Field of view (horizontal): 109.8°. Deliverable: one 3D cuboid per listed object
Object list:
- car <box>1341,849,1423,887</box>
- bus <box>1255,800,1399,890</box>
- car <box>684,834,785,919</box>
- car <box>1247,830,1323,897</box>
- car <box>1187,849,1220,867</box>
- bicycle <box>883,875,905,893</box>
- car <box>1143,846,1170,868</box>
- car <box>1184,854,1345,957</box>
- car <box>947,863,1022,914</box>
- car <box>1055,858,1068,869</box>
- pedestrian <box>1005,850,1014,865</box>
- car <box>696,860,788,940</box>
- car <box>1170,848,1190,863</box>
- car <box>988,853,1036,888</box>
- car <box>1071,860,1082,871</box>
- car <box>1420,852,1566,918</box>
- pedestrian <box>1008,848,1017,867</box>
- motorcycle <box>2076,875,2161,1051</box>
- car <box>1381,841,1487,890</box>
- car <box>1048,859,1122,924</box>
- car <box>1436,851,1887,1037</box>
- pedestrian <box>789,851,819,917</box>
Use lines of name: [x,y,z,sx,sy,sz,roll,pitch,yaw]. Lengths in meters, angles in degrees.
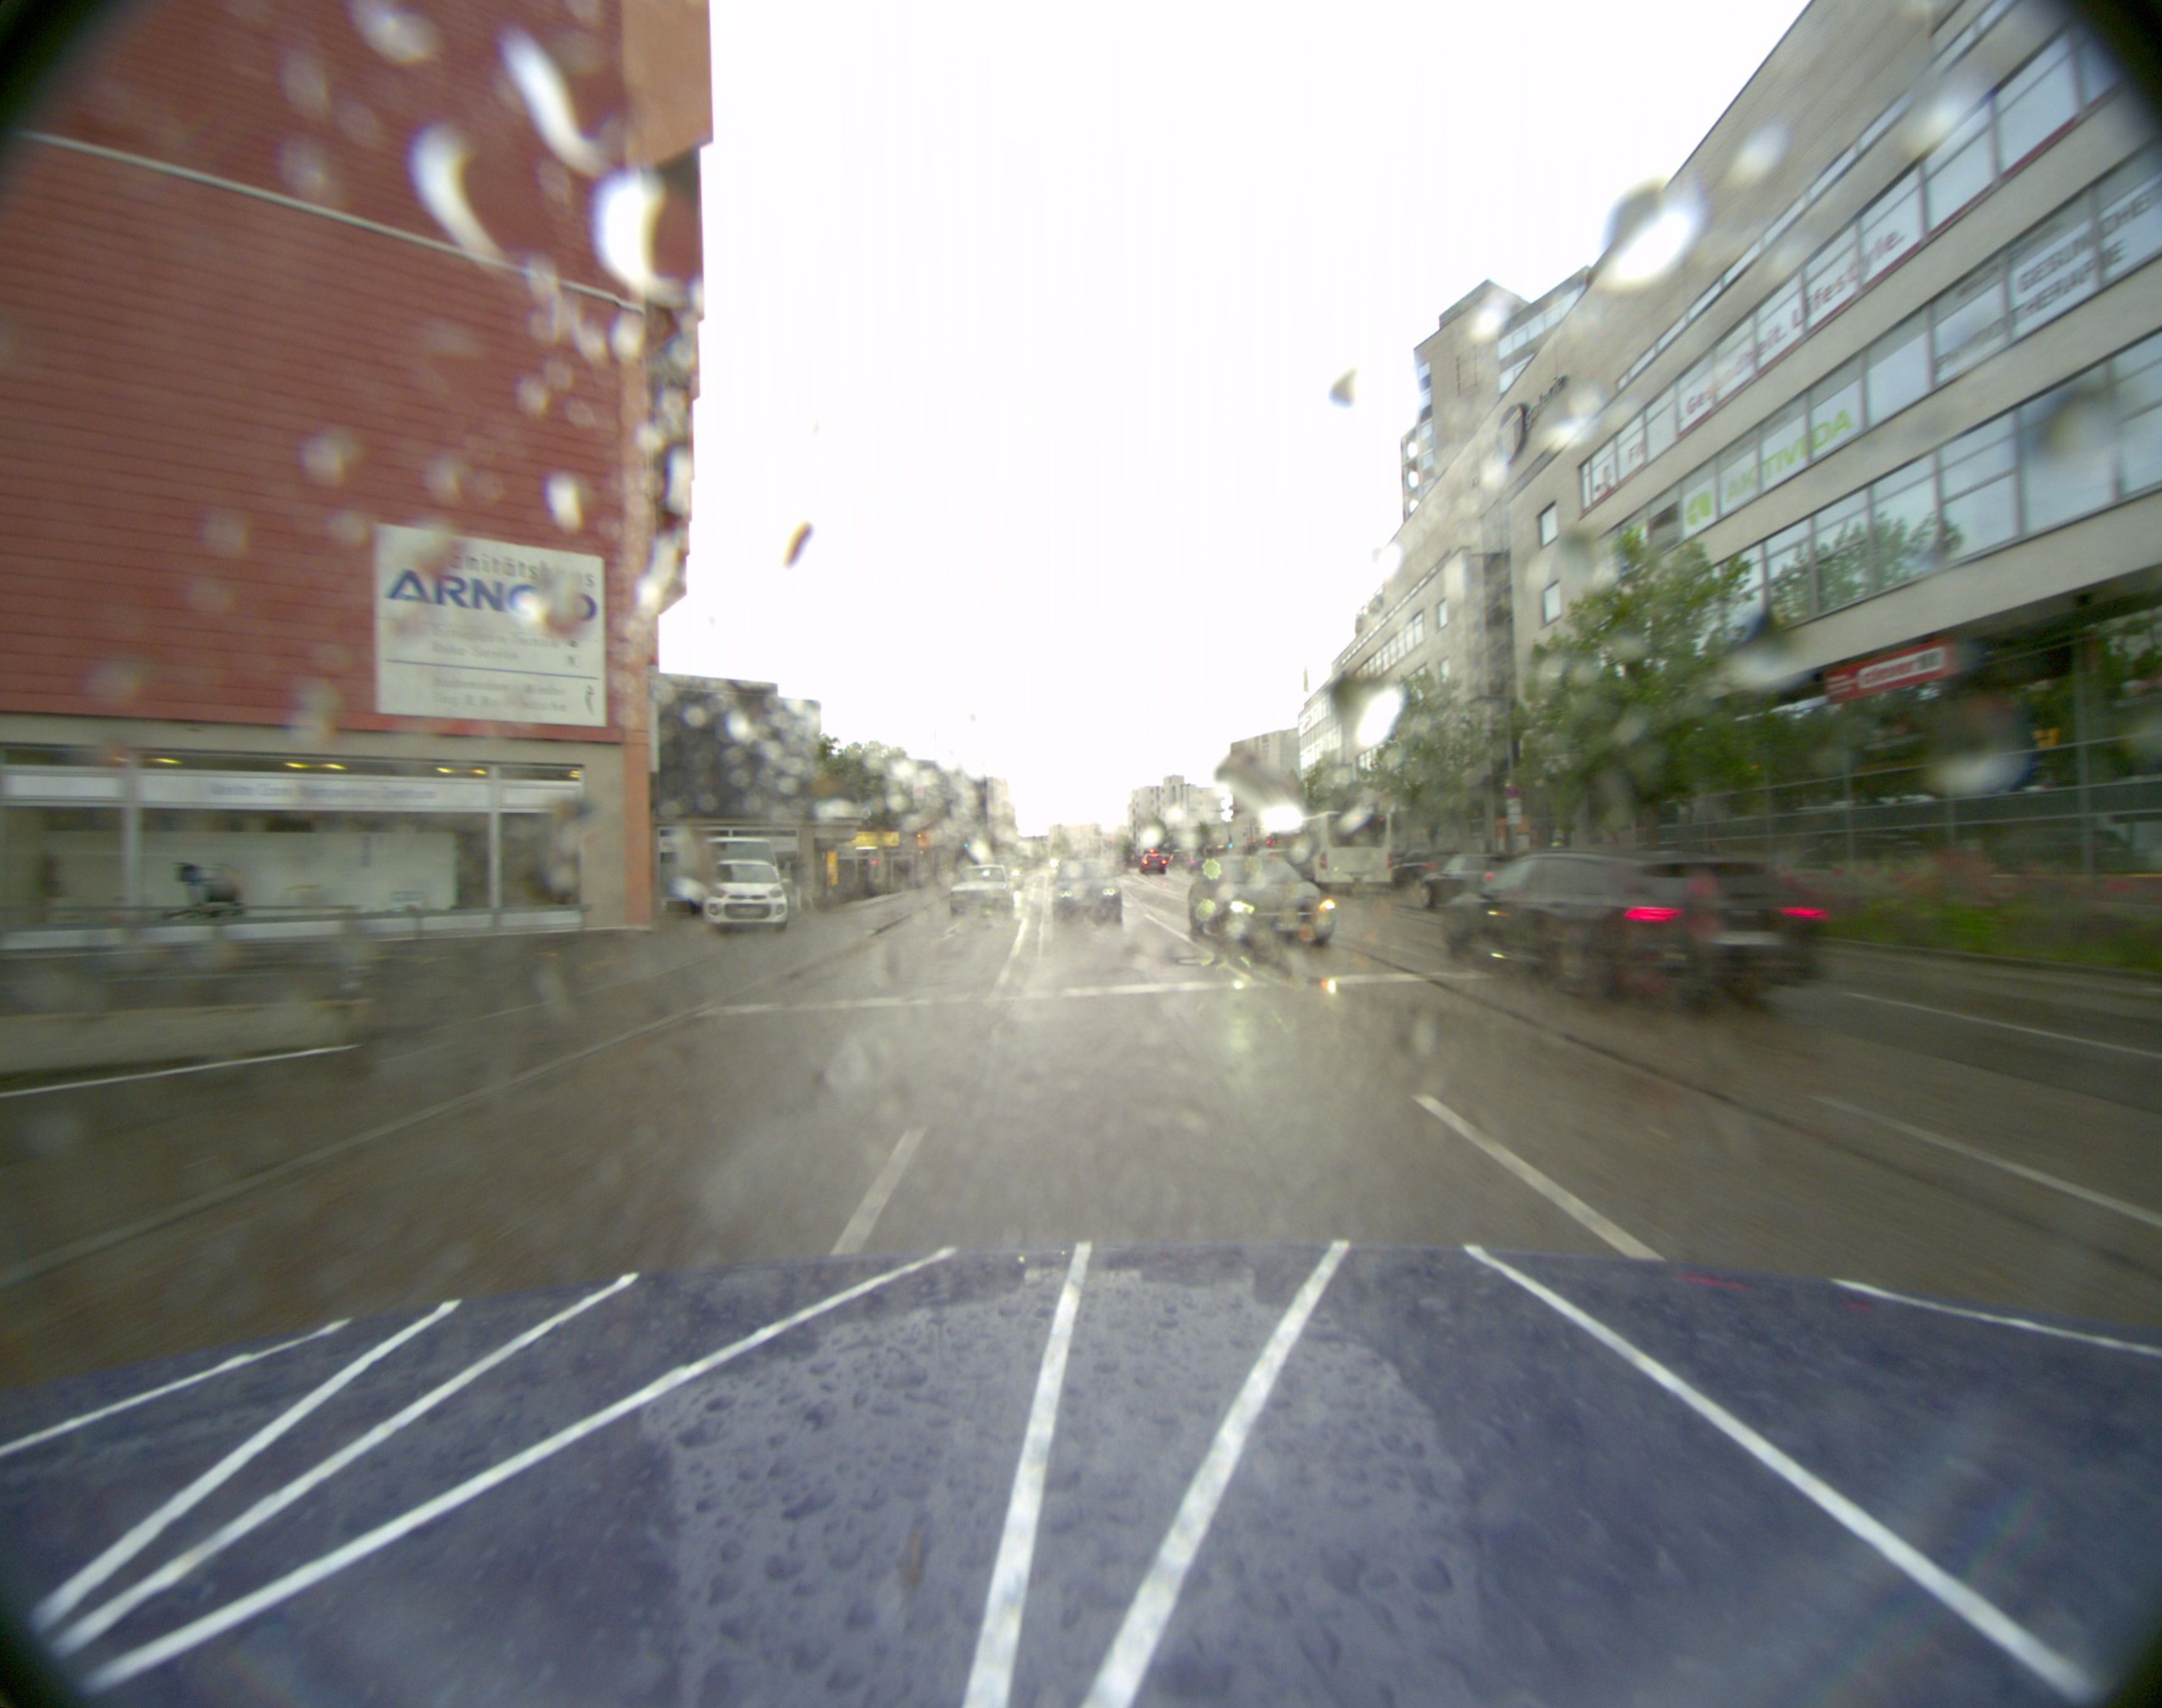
car: [12.837,0.539,32.689,1.830,1.438,4.475,-1,1,1]
bus: [10.028,-0.407,32.724,2.899,3.081,12.000,-1,1,3]
car: [-10.182,0.712,22.117,2.011,2.195,4.865,1,-3,-32]
car: [6.669,0.256,25.269,1.637,2.002,4.285,-1,1,4]
car: [9.137,0.274,56.996,1.901,1.249,4.194,-1,1,2]
bicycle: [-10.103,1.600,41.091,0.532,0.932,1.573,1,0,-38]
car: [5.578,0.210,56.662,1.711,1.508,4.391,-1,1,2]
car: [3.033,0.771,13.457,1.720,1.442,4.197,-1,1,-1]
car: [-2.856,0.987,23.193,1.662,1.300,3.994,-1,1,1]
car: [-2.365,1.166,91.818,1.326,1.178,2.823,-1,1,3]
pedestrian: [-6.736,0.297,71.636,0.687,1.372,0.772,2,2,9]
car: [-7.424,0.903,16.545,1.618,1.453,3.416,-2,1,-26]
car: [9.344,0.127,71.952,1.568,1.367,3.282,0,1,3]
car: [-3.560,0.795,39.778,2.058,1.638,4.479,-1,1,0]
car: [-0.635,1.609,105.635,1.394,1.316,2.861,-1,1,1]
car: [9.586,0.656,18.004,1.644,1.330,3.601,-1,1,3]
pedestrian: [-6.555,0.359,72.773,0.687,1.793,0.797,2,2,9]
motorcycle: [8.480,0.831,5.055,0.909,1.276,2.185,-1,1,3]
car: [12.495,0.364,27.176,1.998,1.587,3.999,-1,1,1]
car: [0.126,0.889,19.820,1.688,1.373,3.793,-3,1,1]
car: [5.709,0.730,8.334,1.762,1.426,4.381,-1,1,3]
pedestrian: [-7.521,0.799,20.651,0.594,1.756,0.600,-1,0,-4]
